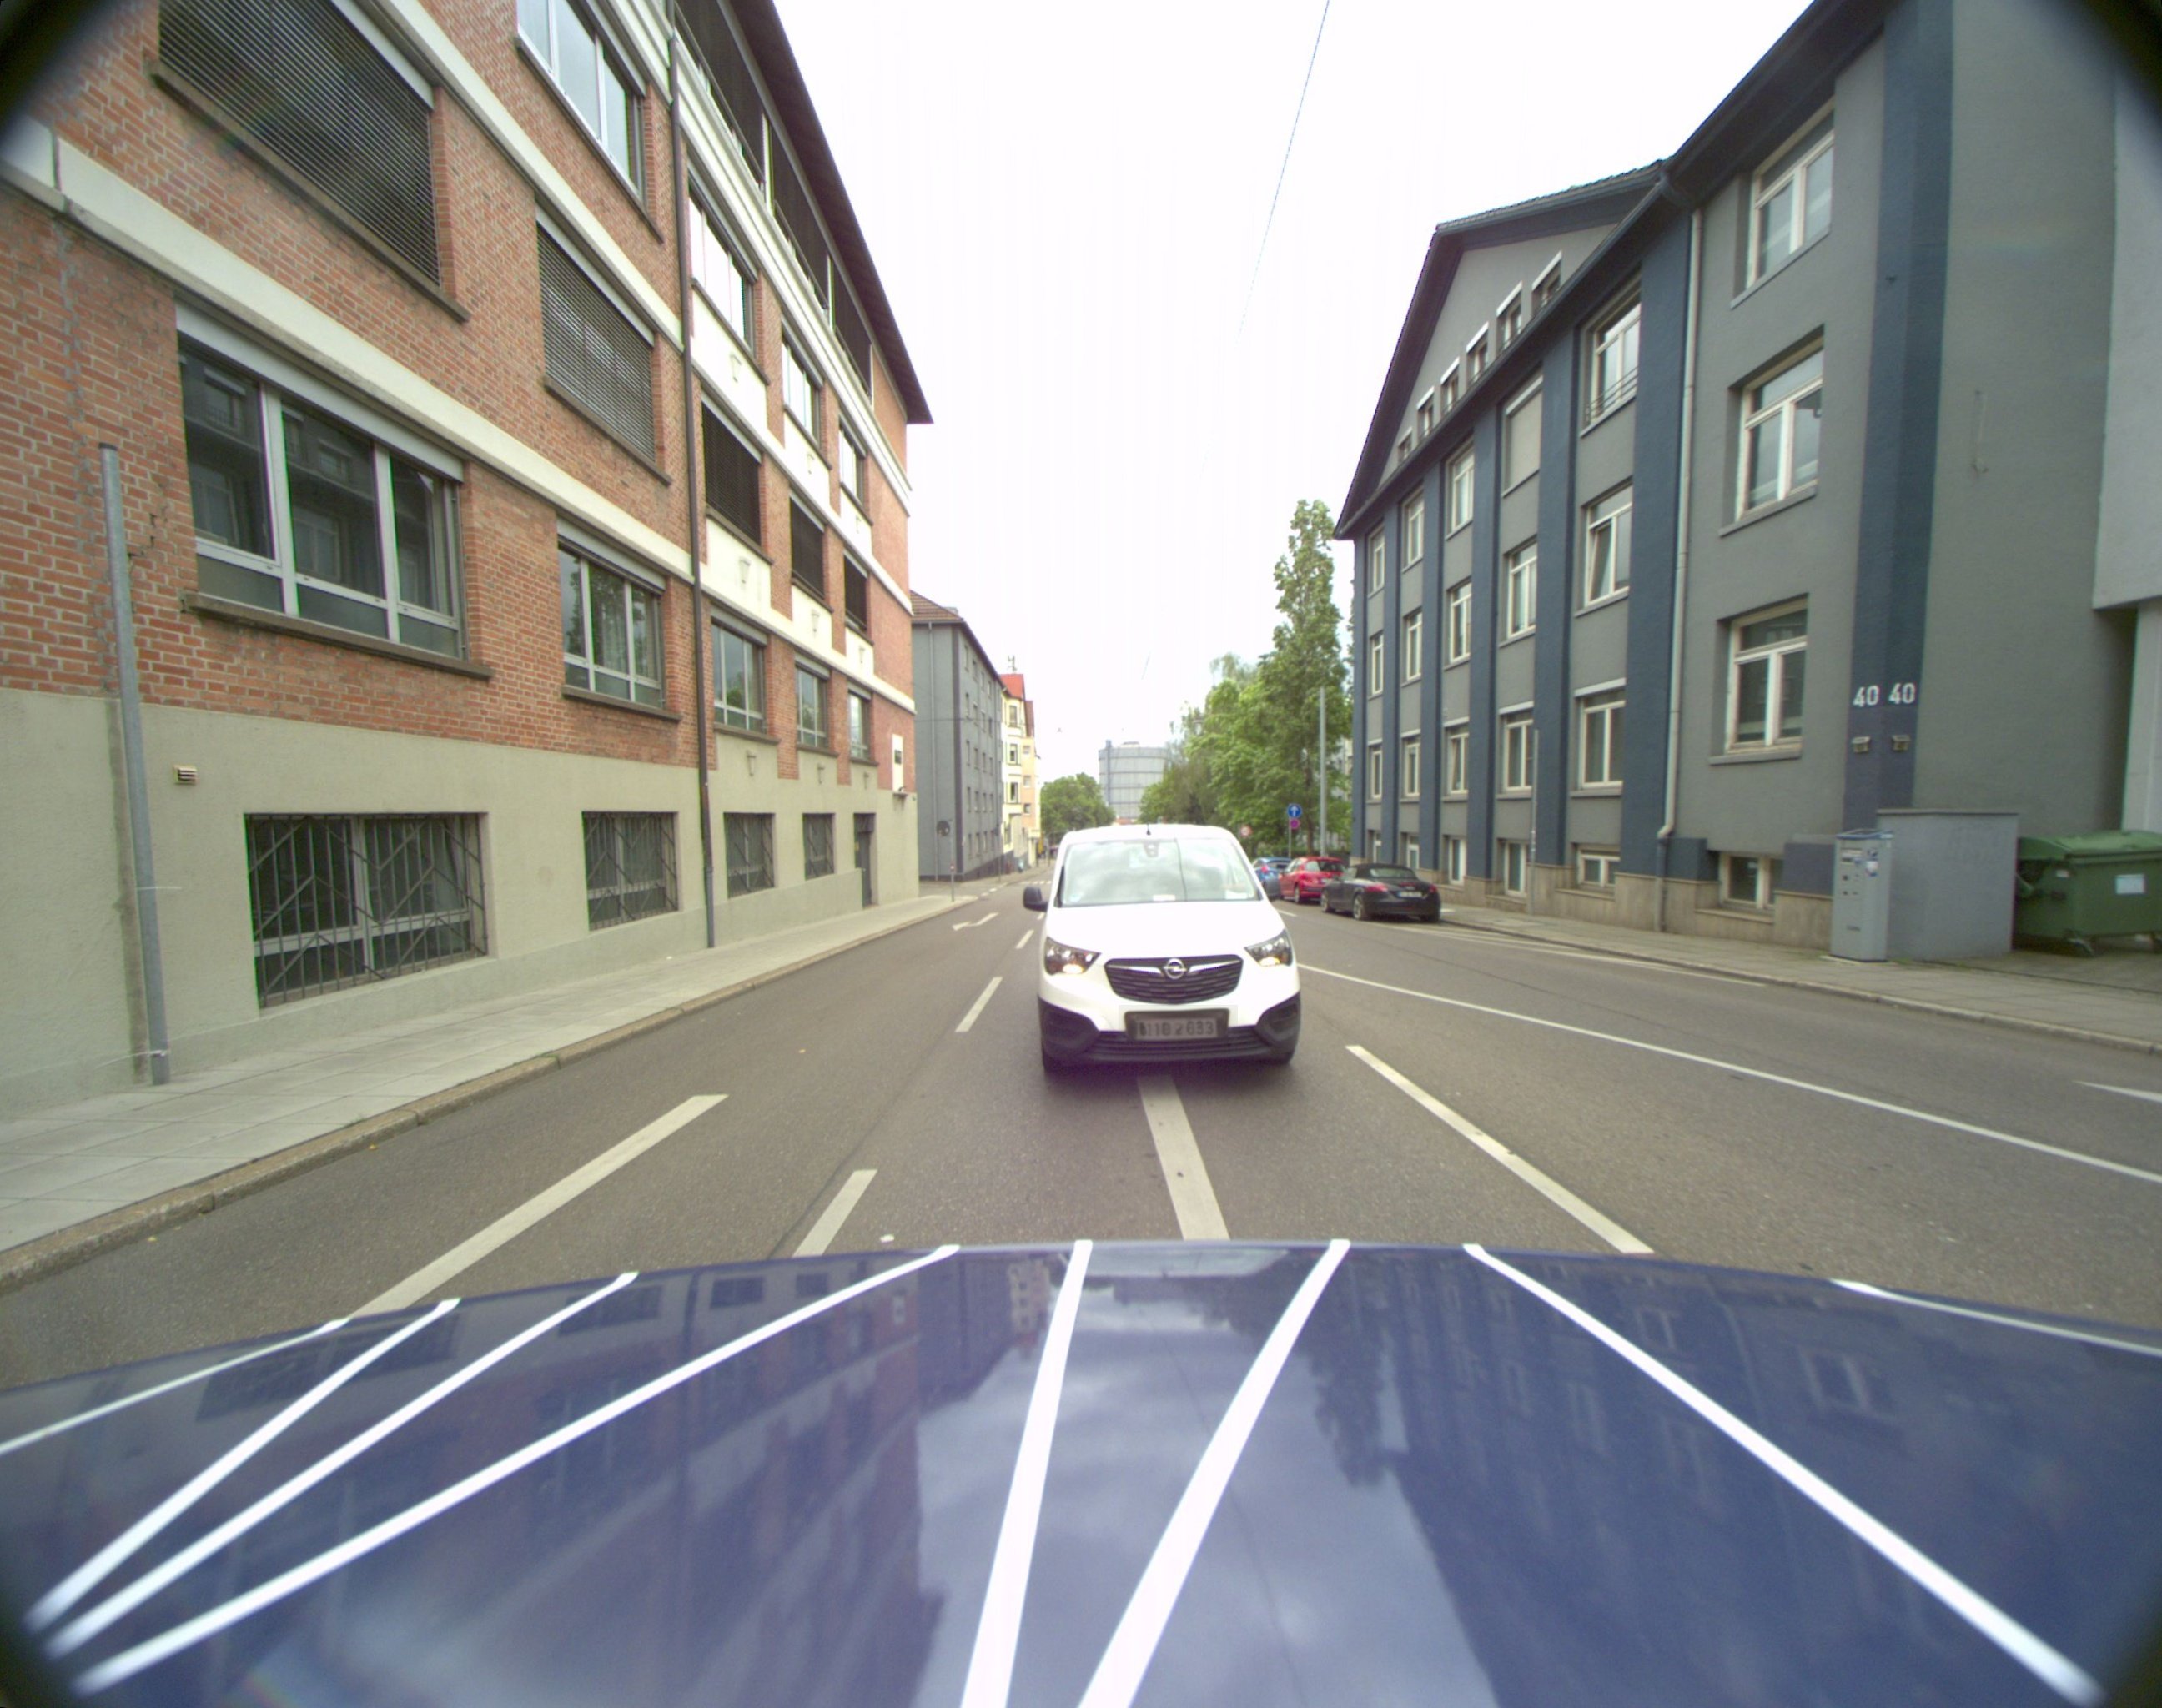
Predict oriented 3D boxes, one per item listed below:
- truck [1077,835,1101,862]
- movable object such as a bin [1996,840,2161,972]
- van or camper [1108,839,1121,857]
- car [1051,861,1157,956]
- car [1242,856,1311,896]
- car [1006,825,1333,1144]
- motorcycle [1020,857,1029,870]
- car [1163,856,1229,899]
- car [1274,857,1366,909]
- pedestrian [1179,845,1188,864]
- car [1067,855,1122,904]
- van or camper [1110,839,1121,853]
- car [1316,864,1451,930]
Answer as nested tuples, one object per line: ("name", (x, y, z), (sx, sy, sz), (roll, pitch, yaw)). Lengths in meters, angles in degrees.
("truck", (1.112, -0.689, 102.859), (2.980, 3.394, 9.358), (-2, 0, 1))
("movable object such as a bin", (12.103, 0.598, 9.107), (1.267, 1.448, 0.784), (-3, 2, 4))
("van or camper", (5.212, -0.984, 119.933), (1.914, 2.754, 5.925), (1, 0, 2))
("car", (0.431, 0.913, 14.309), (1.724, 1.486, 3.727), (1, 0, 2))
("car", (7.572, 0.809, 29.772), (1.724, 1.445, 3.727), (1, 0, 0))
("car", (0.567, 0.758, 6.916), (1.840, 1.797, 4.939), (-2, 0, 1))
("motorcycle", (-5.080, 0.848, 68.590), (0.566, 1.105, 1.653), (4, 0, 2))
("car", (4.134, 0.798, 28.017), (1.790, 1.410, 4.670), (2, 0, 1))
("car", (7.522, 0.848, 24.328), (1.819, 1.465, 3.869), (2, 0, 2))
("pedestrian", (10.089, 0.012, 74.722), (0.746, 1.839, 0.776), (-1, 1, 2))
("car", (0.493, 0.810, 25.868), (1.724, 1.486, 3.727), (1, 0, 2))
("van or camper", (6.758, -1.512, 149.783), (1.914, 2.754, 5.925), (1, 0, 2))
("car", (7.197, 0.956, 18.518), (1.724, 1.319, 4.041), (2, 0, 1))
